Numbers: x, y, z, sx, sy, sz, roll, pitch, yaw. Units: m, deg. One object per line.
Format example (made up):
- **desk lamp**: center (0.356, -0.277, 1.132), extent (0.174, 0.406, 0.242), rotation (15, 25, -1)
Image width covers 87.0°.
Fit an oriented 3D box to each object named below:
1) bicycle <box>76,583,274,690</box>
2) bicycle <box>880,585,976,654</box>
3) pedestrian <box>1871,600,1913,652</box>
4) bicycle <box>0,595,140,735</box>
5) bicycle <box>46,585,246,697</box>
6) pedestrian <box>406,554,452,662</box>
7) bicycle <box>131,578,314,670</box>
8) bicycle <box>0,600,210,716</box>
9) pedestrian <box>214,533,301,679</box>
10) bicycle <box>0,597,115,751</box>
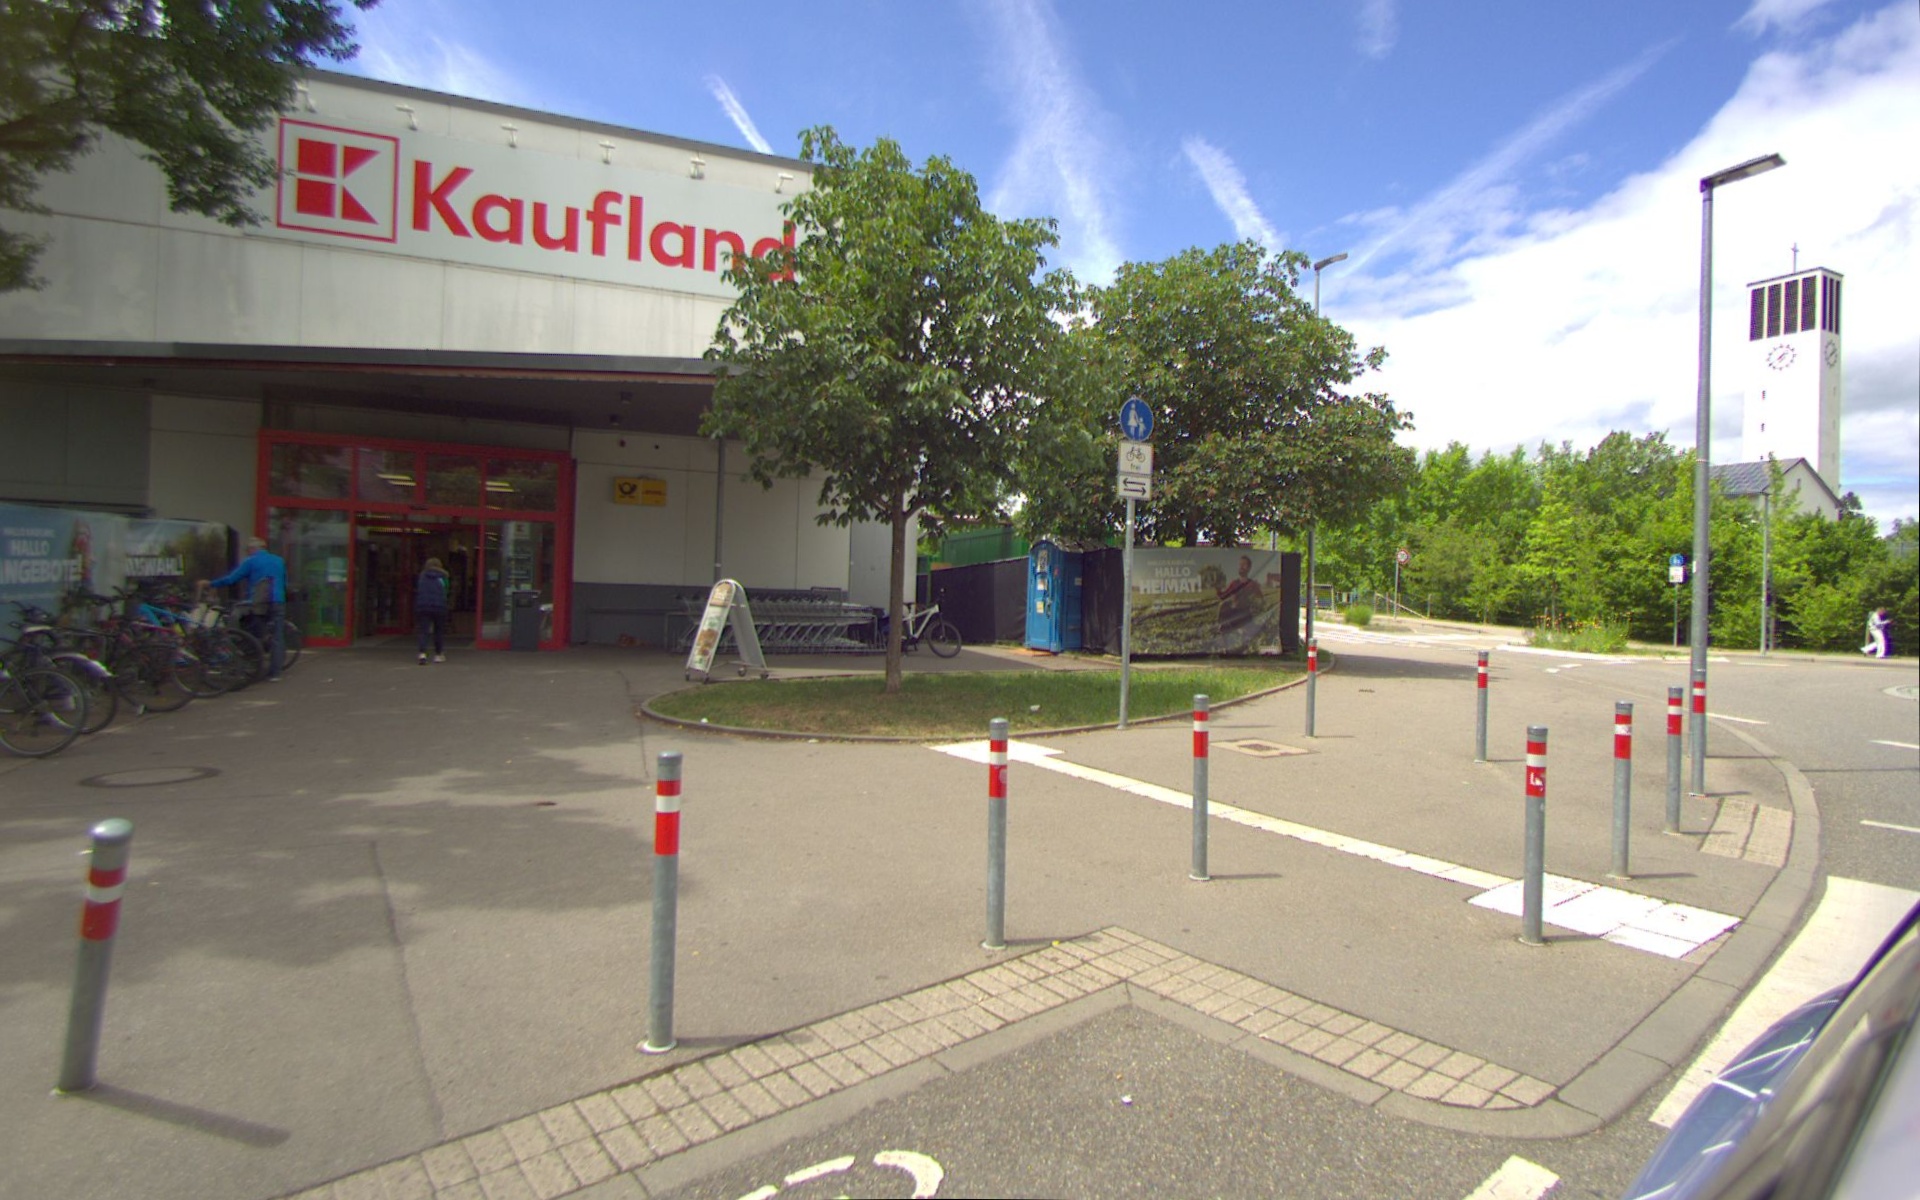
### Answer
- **bicycle**: center (-8.976, 0.411, 11.632), extent (1.730, 1.170, 0.441), rotation (1, -1, -20)
- **bicycle**: center (-0.619, 0.344, 19.124), extent (1.763, 1.250, 0.705), rotation (0, 0, 37)
- **pedestrian**: center (28.131, 0.775, 30.550), extent (0.943, 1.553, 0.459), rotation (2, -1, -12)
- **bicycle**: center (-8.185, 0.547, 8.735), extent (1.738, 1.170, 0.501), rotation (1, -1, -4)
- **bicycle**: center (-8.783, 0.435, 10.978), extent (1.626, 1.170, 0.427), rotation (1, -1, -18)
- **pedestrian**: center (-7.989, 0.117, 15.243), extent (0.485, 1.586, 0.628), rotation (1, 0, -18)
- **bicycle**: center (-9.712, 0.315, 13.391), extent (1.873, 1.170, 0.531), rotation (1, -1, -15)
- **bicycle**: center (-8.443, 0.541, 9.840), extent (1.764, 1.054, 0.522), rotation (1, 1, -25)
- **pedestrian**: center (-8.798, 0.063, 12.705), extent (0.732, 1.778, 0.626), rotation (1, 2, -16)
- **bicycle**: center (-7.705, 0.558, 7.867), extent (1.754, 1.170, 0.452), rotation (1, -1, -8)
